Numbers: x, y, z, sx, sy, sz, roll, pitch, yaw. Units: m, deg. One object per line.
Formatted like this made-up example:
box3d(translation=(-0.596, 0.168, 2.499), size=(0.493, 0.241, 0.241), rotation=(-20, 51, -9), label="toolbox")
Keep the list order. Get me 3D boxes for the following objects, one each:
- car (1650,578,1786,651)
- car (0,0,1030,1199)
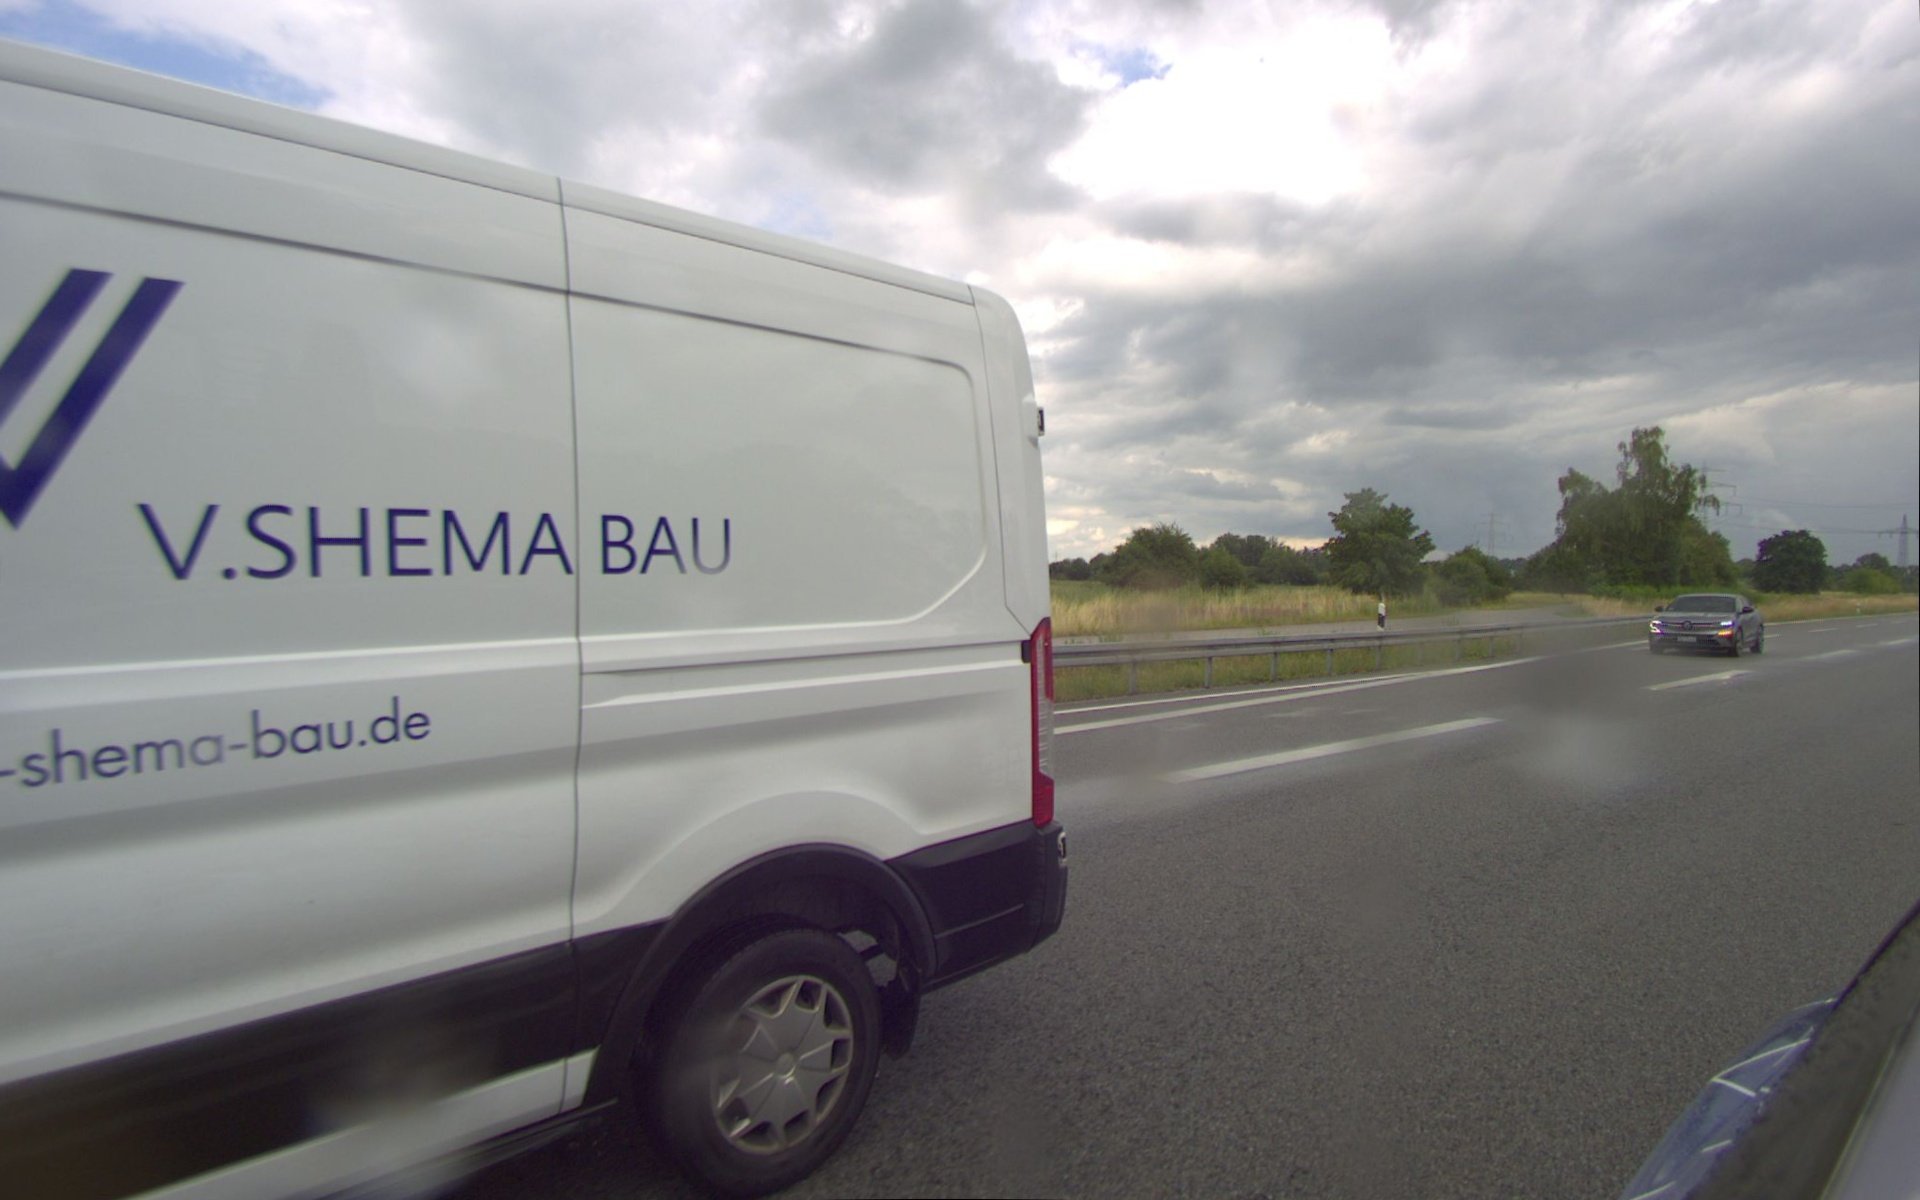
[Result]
box3d(translation=(19.067, 0.299, 25.383), size=(4.552, 1.662, 1.996), rotation=(0, 1, -43), label="car")
box3d(translation=(-2.527, 0.035, 1.934), size=(5.351, 2.532, 2.144), rotation=(-1, 1, -40), label="car")
